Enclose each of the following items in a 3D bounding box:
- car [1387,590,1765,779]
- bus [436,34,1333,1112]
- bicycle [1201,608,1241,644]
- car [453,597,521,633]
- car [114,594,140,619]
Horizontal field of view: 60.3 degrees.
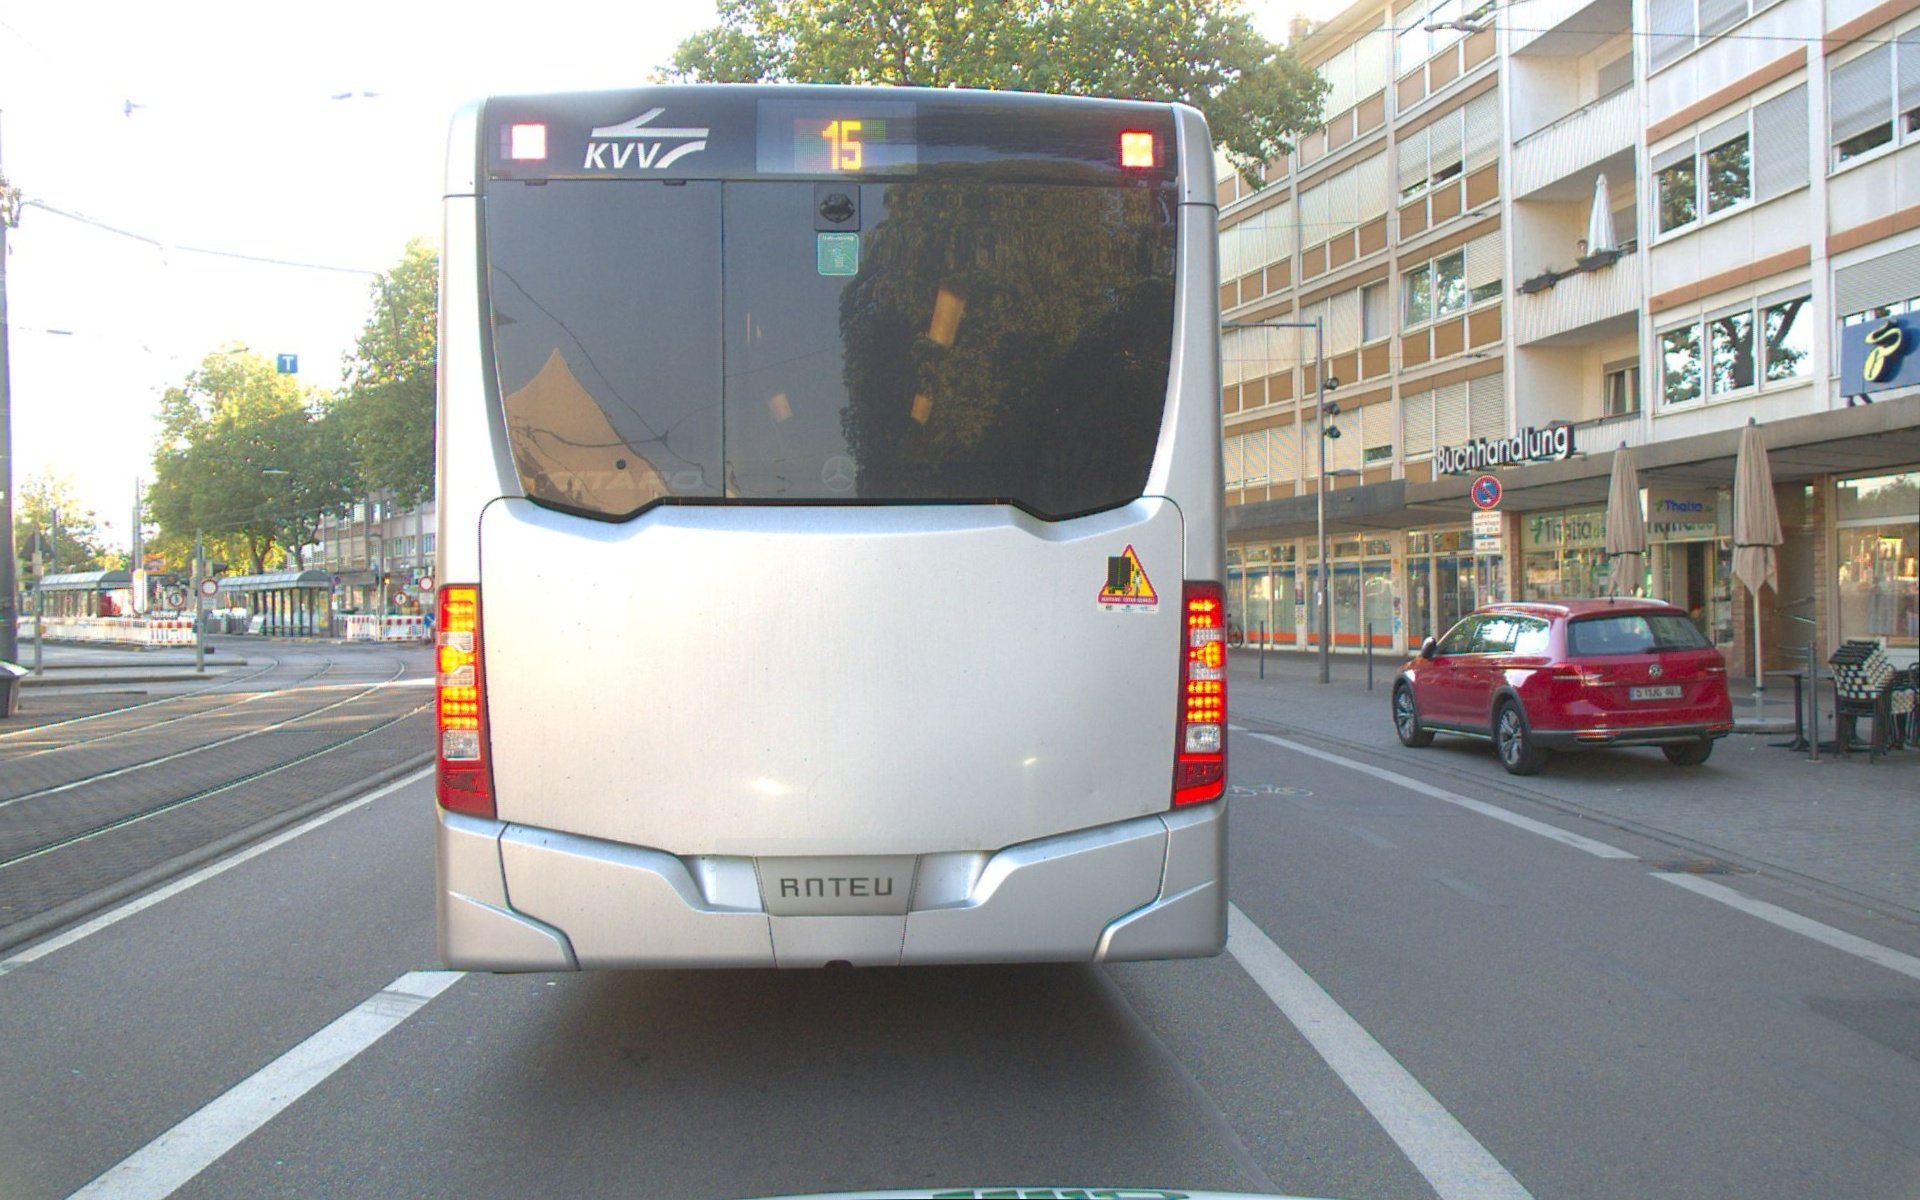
[{"bbox_3d":[5.703,0.705,15.948,1.735,1.508,4.299,-2,0,-4],"label":"car"},{"bbox_3d":[-0.413,-0.062,9.784,2.578,3.081,9.992,0,0,-3],"label":"bus"},{"bbox_3d":[7.207,0.706,45.722,0.406,0.961,1.431,-1,0,-20],"label":"bicycle"},{"bbox_3d":[-25.028,0.789,87.446,1.982,1.823,3.940,1,-1,-41],"label":"car"},{"bbox_3d":[-70.842,0.557,140.684,1.604,2.049,3.075,-1,0,-34],"label":"car"}]
